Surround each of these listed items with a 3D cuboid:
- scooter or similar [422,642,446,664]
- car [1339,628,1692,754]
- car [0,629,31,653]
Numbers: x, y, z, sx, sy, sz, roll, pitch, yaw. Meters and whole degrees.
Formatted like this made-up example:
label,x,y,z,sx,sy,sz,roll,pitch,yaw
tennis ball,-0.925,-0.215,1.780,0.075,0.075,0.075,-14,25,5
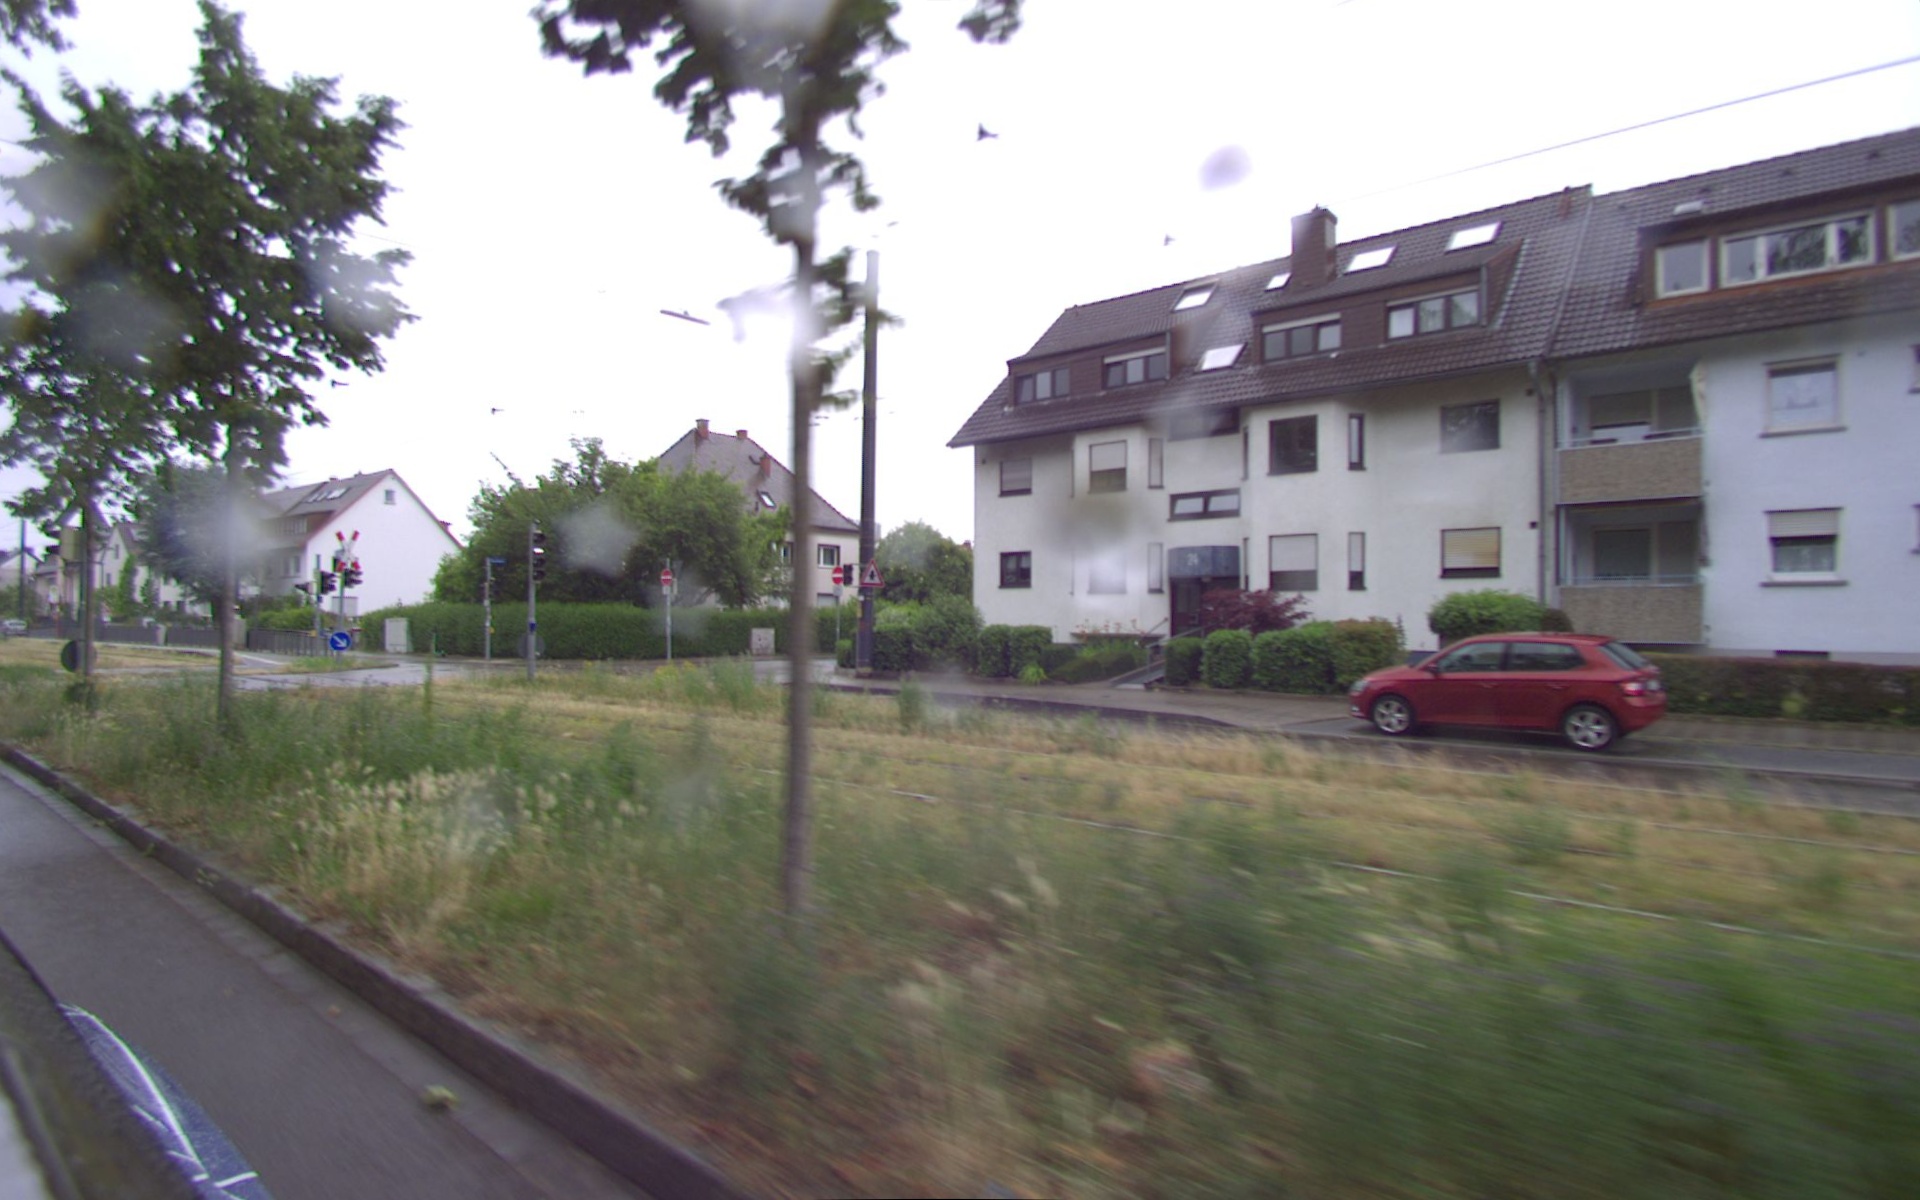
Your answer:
label,x,y,z,sx,sy,sz,roll,pitch,yaw
scooter or similar,-21.687,2.185,41.736,1.256,0.917,0.343,-1,-3,36
car,7.664,1.157,14.204,4.001,1.468,1.778,-2,-1,44
car,-84.411,3.632,89.930,3.991,2.029,1.976,-1,-3,36
